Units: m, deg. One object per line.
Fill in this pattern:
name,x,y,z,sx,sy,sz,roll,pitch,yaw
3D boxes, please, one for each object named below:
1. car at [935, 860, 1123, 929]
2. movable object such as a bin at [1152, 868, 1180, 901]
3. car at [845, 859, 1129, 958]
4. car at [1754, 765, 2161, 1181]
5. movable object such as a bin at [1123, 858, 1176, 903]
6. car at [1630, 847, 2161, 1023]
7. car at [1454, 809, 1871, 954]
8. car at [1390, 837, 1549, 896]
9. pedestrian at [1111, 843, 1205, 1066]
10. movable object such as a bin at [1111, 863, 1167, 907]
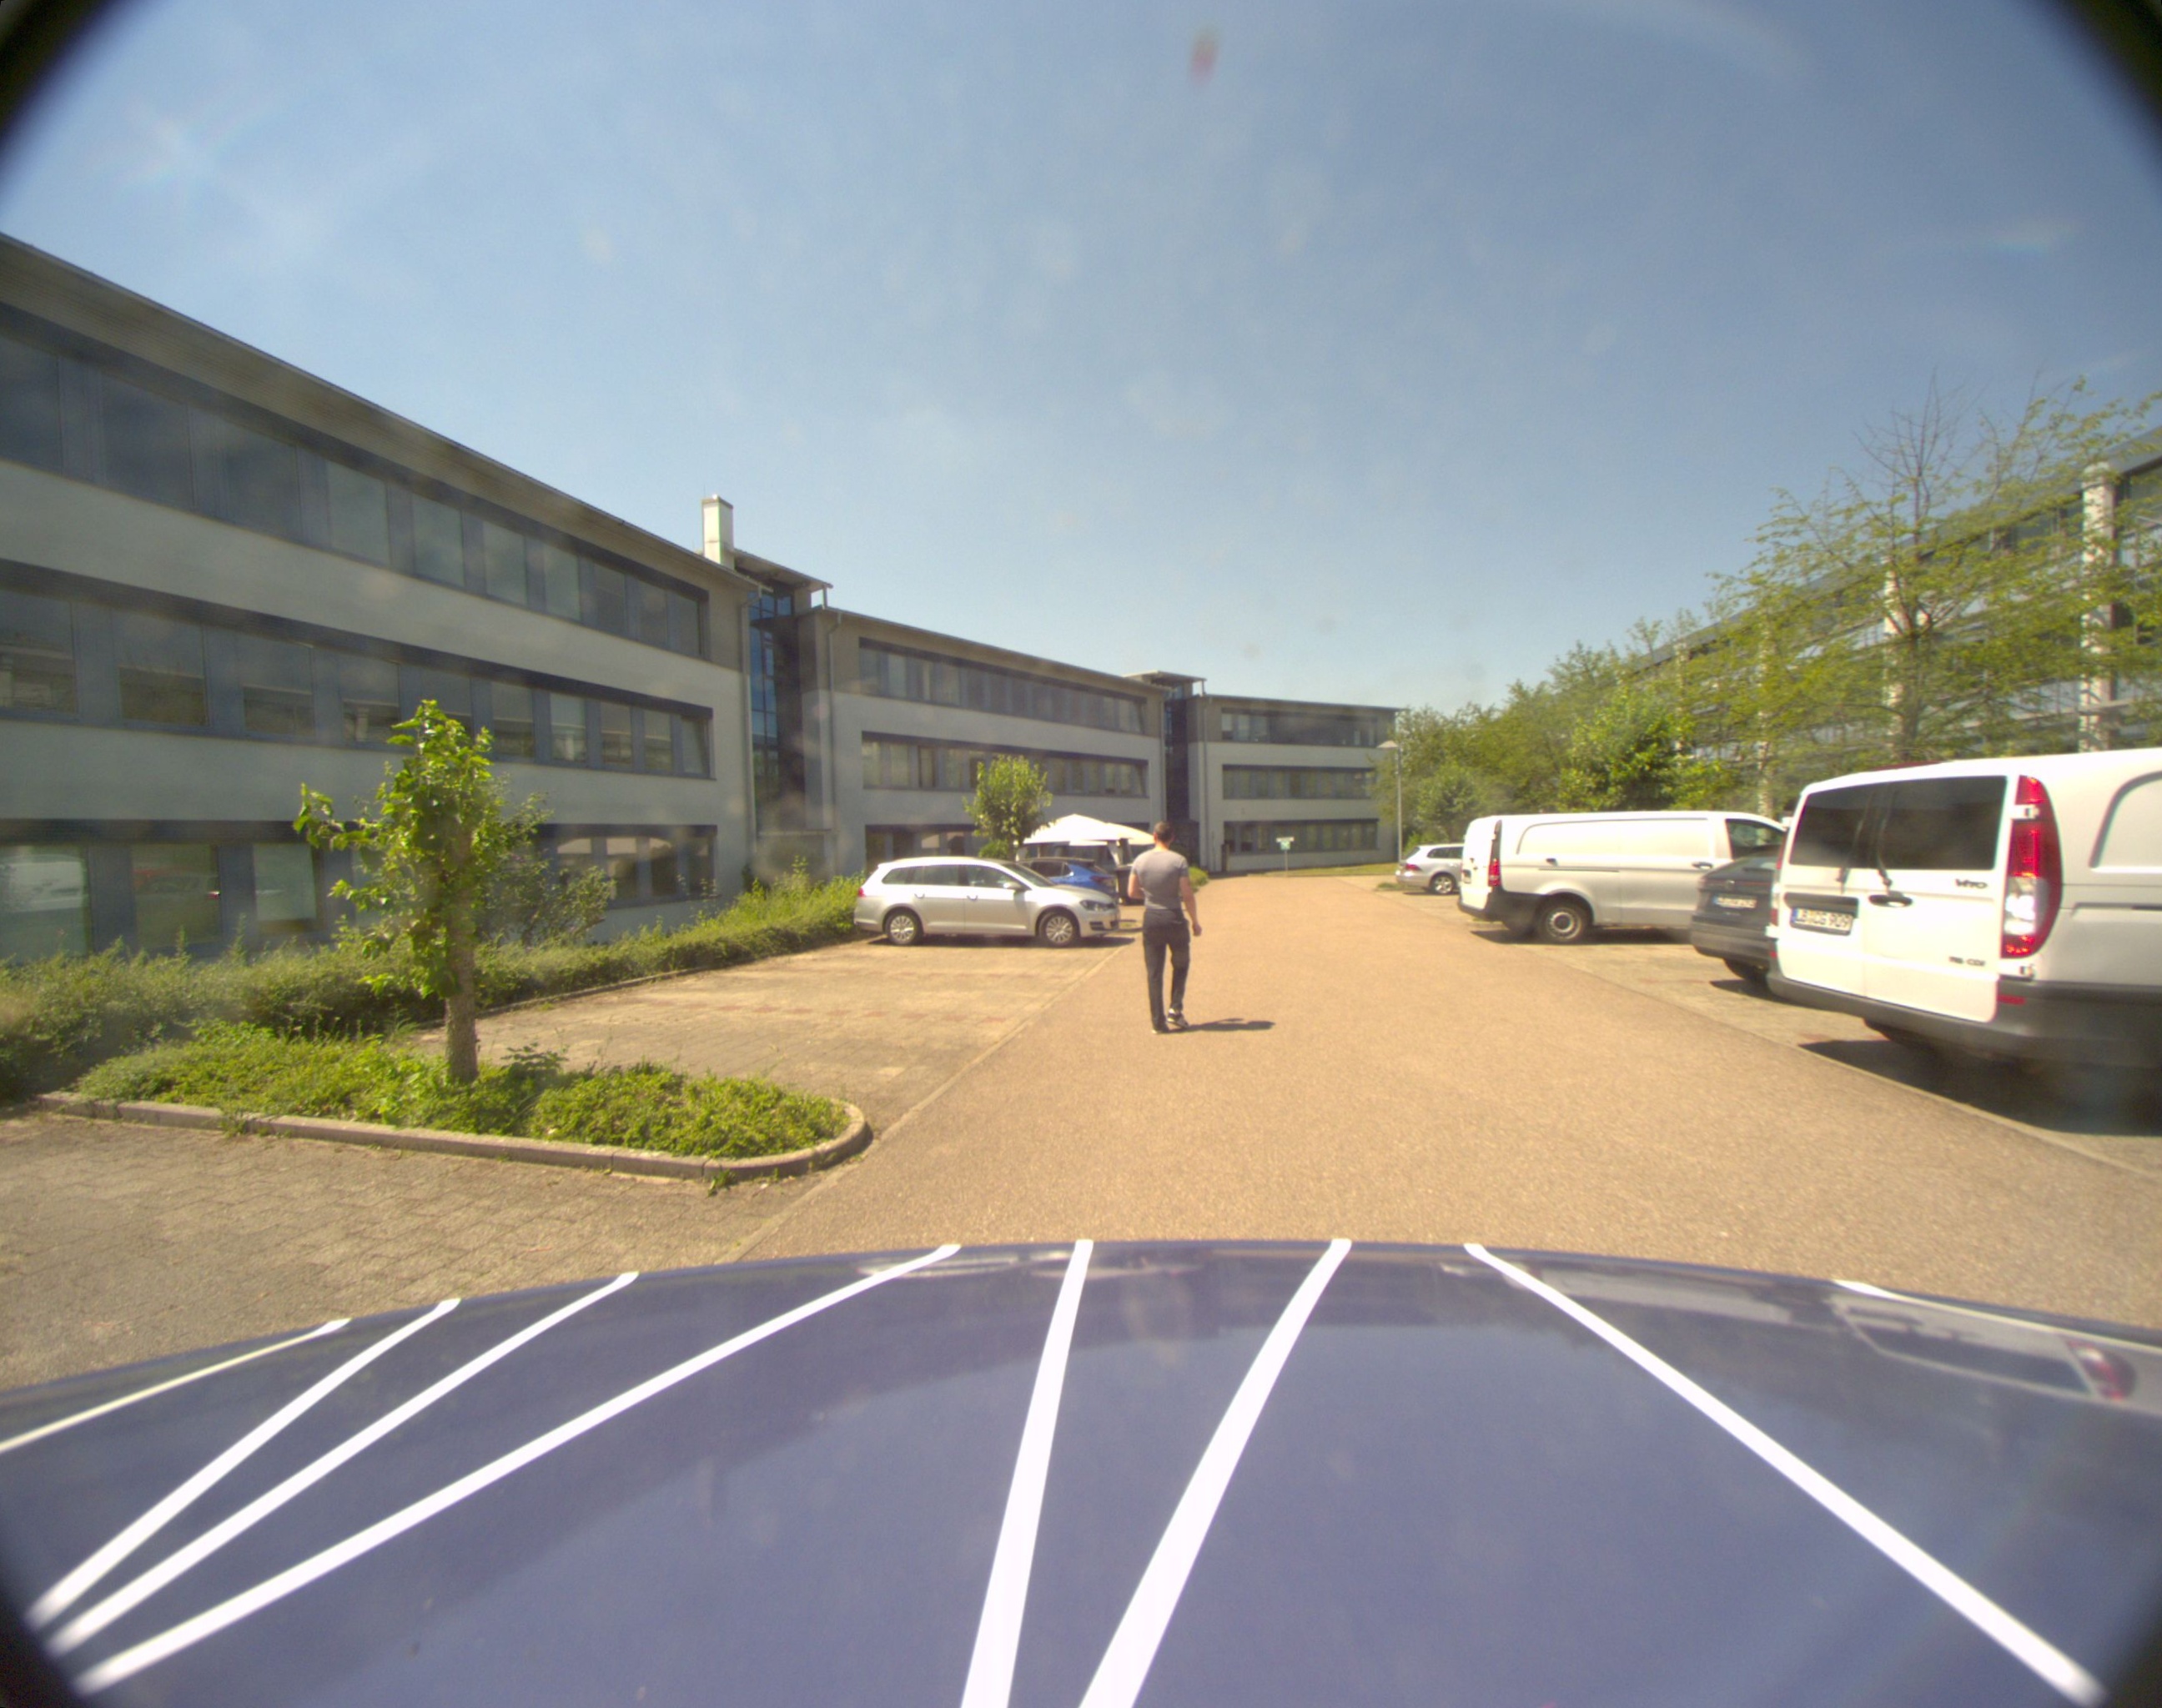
car,-1.083,0.837,16.688,3.821,1.384,1.653,0,1,11
movable object such as a bin,2.632,0.933,23.438,0.690,0.944,0.723,-1,1,17
car,-1.535,0.877,13.141,4.513,1.489,1.830,-1,1,11
car,6.884,0.479,3.993,4.728,1.895,1.831,-2,1,11
movable object such as a bin,2.055,0.784,22.633,1.362,1.288,1.044,-1,1,17
car,7.697,0.687,7.094,3.845,1.385,1.578,-2,1,11
car,8.200,0.397,11.182,4.513,1.871,1.830,-2,1,11
car,11.081,0.344,21.906,3.759,1.549,1.662,-2,1,11
pedestrian,0.670,0.789,6.393,0.617,1.747,0.789,-1,1,15
movable object such as a bin,1.668,0.883,21.629,1.362,1.183,0.998,-1,1,17
